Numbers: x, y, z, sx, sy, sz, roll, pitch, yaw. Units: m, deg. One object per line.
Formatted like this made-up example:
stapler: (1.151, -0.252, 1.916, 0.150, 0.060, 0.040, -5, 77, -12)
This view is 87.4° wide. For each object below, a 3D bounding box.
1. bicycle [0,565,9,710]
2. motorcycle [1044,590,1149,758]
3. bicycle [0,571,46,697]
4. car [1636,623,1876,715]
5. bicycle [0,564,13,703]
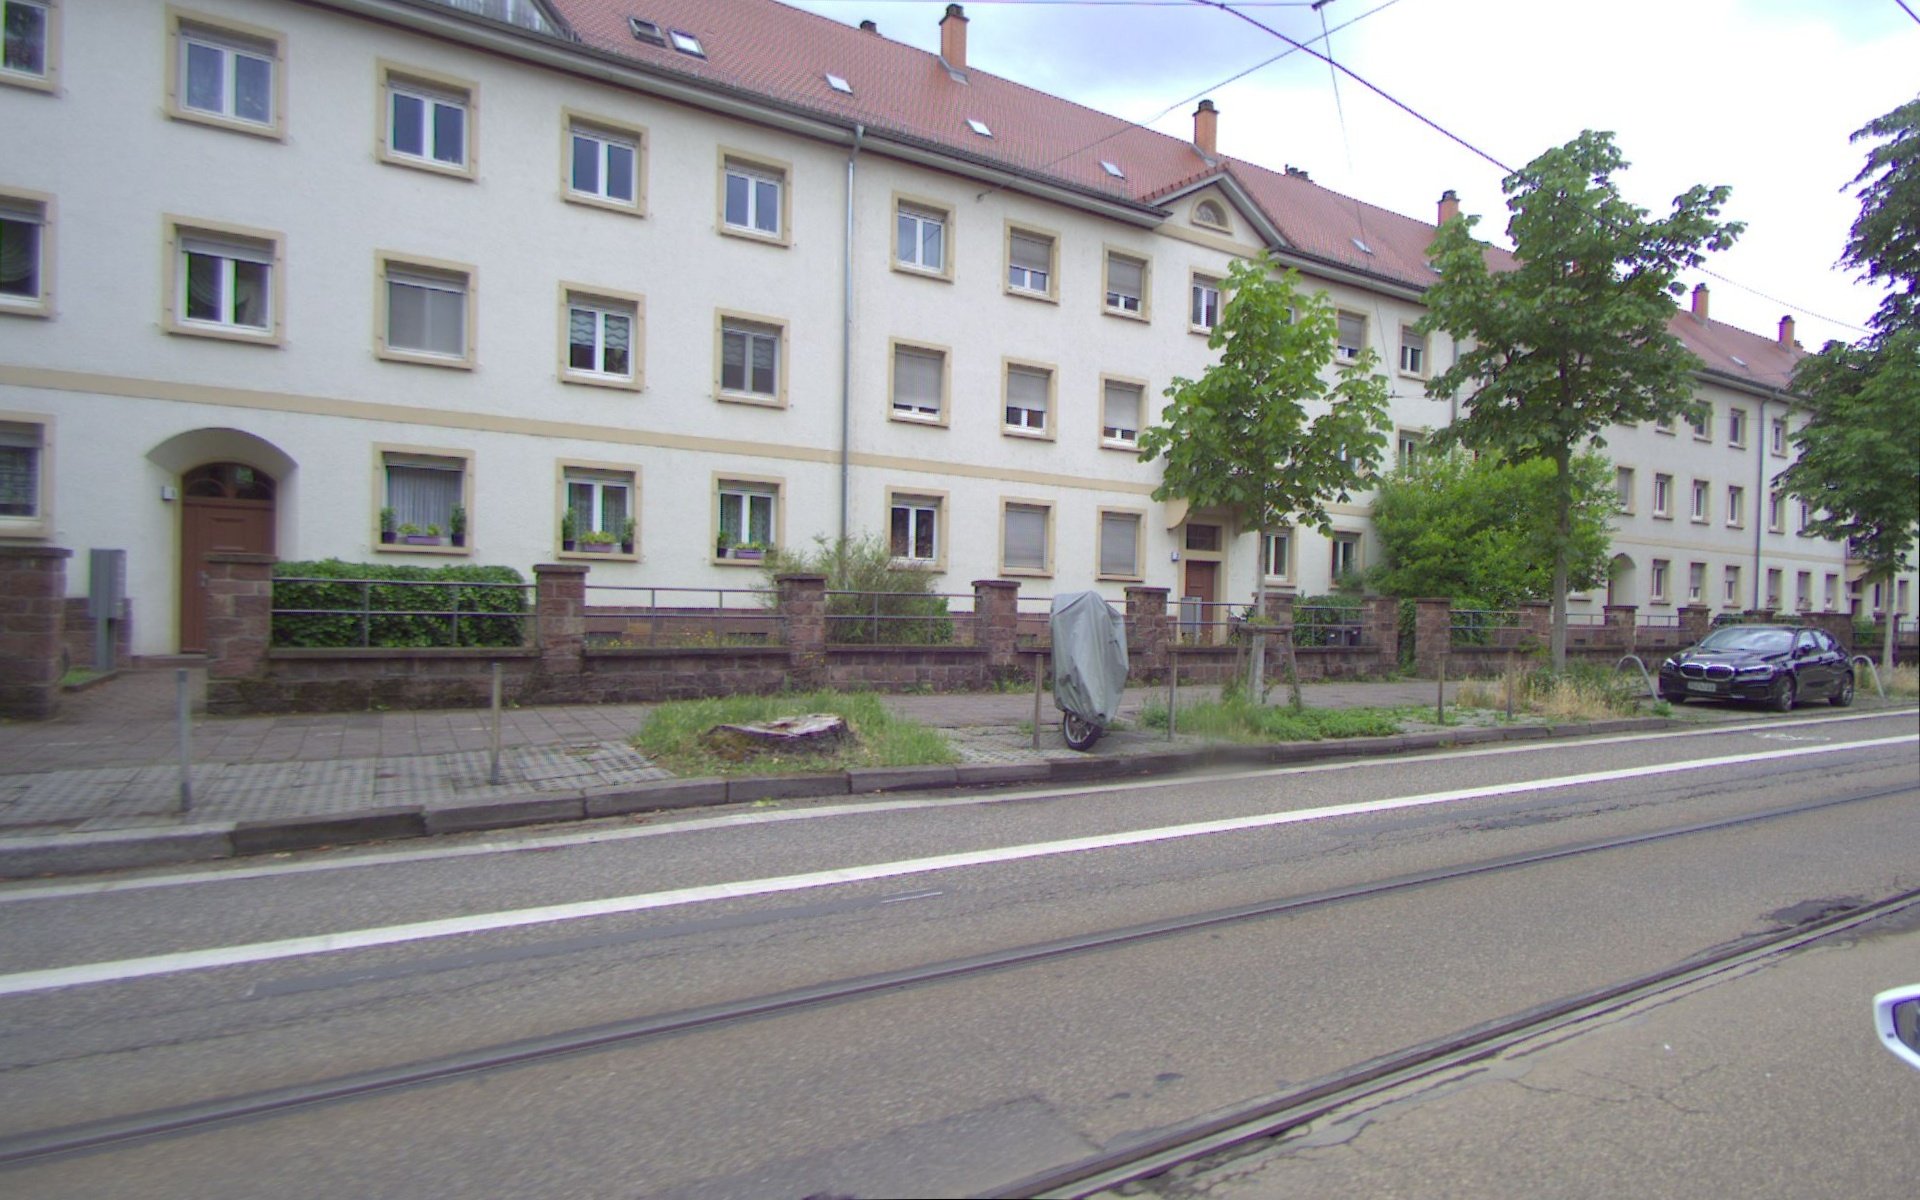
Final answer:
bicycle: (-10.069, 0.344, 8.981, 2.116, 1.400, 0.789, 1, 0, -30)
motorcycle: (1.393, 0.698, 10.611, 0.908, 1.531, 2.273, 3, 0, 5)
bicycle: (-10.905, 0.333, 10.321, 2.117, 1.315, 0.744, 1, 0, -32)
car: (14.414, 1.186, 18.148, 4.363, 1.417, 1.882, 1, 0, -29)
bicycle: (-10.579, 0.313, 9.599, 2.116, 1.400, 0.624, 1, 0, -30)
